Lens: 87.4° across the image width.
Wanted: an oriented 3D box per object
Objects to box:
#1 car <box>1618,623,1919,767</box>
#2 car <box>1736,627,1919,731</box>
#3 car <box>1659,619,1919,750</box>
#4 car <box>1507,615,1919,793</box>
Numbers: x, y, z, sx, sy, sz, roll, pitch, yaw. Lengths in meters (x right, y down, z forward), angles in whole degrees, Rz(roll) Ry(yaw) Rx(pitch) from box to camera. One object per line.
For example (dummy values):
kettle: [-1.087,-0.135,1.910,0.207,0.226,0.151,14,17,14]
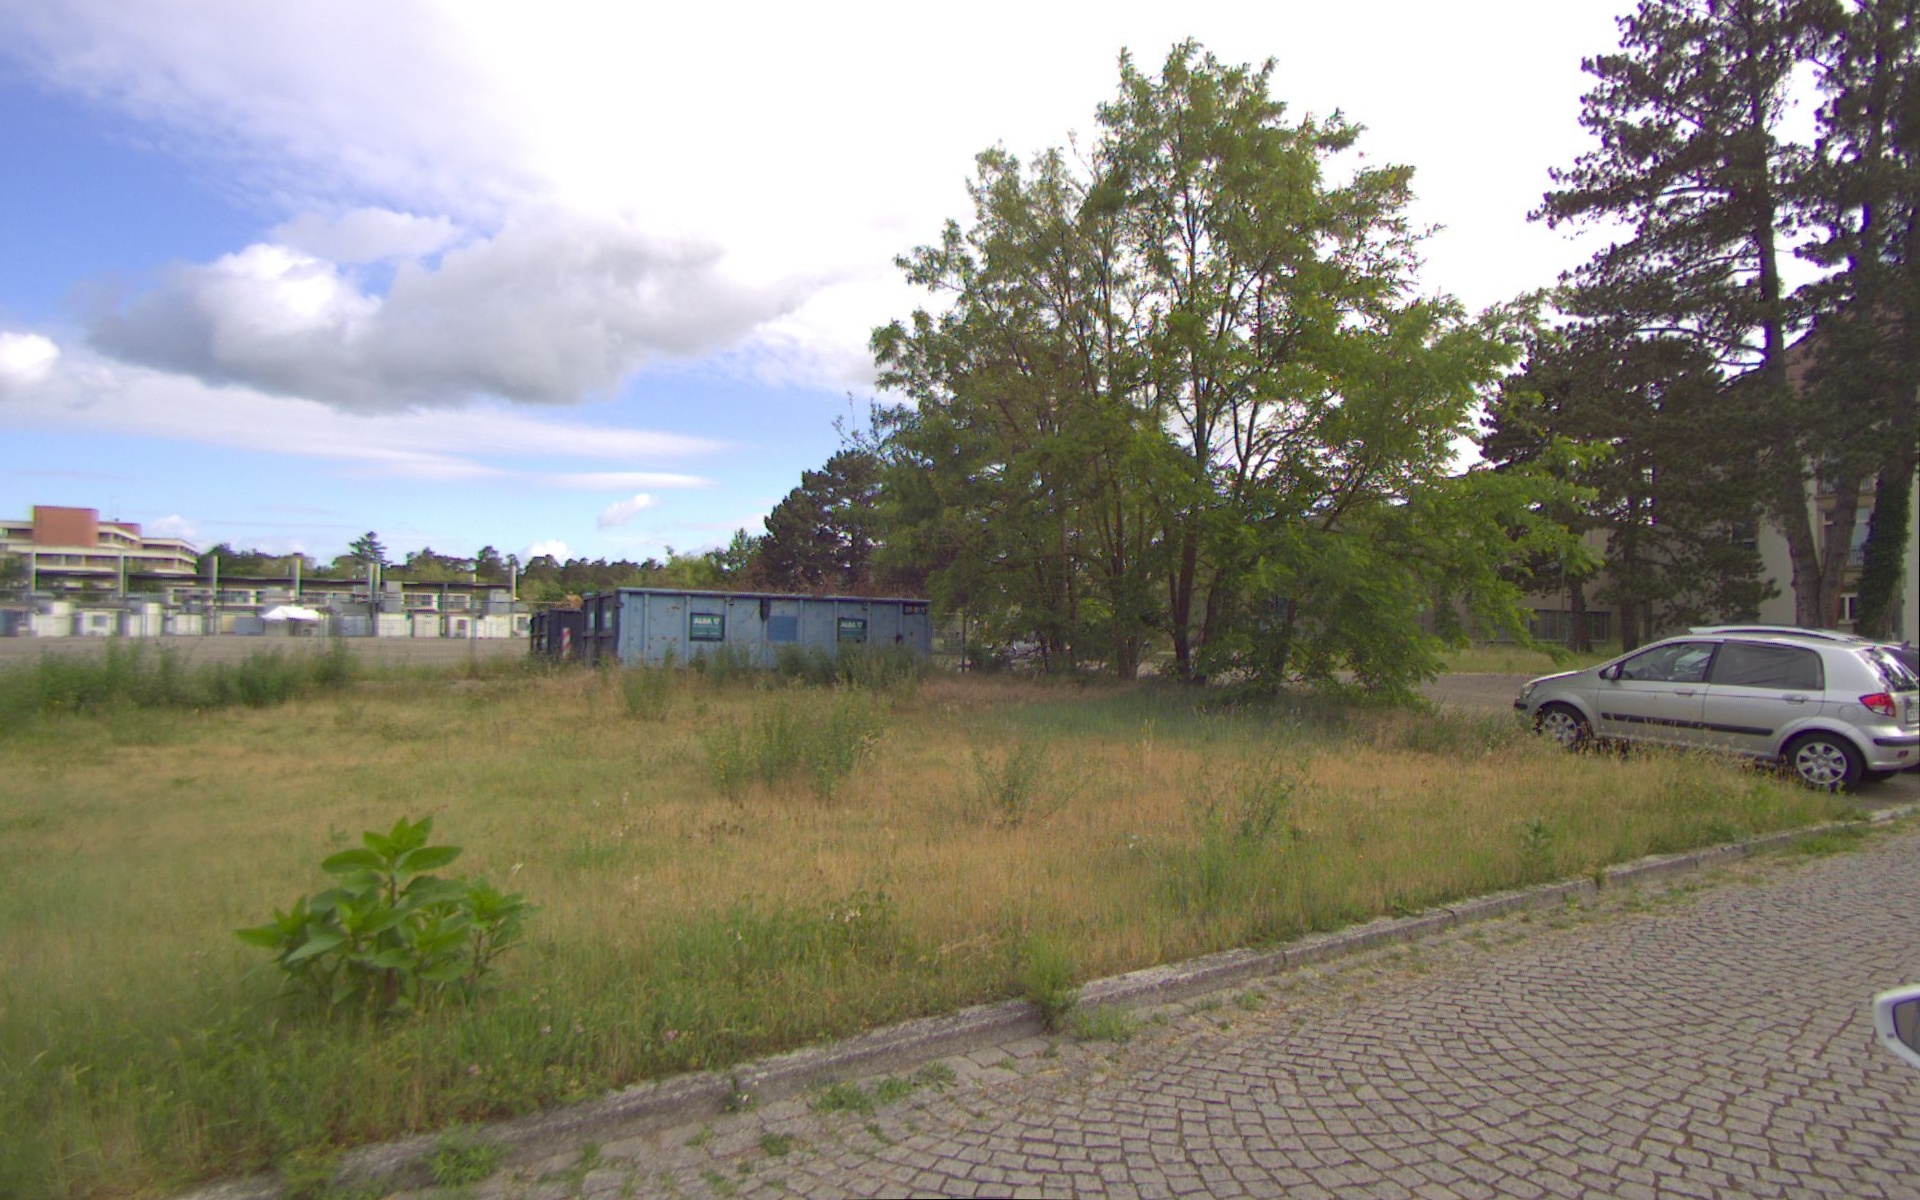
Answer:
car: [10.637,1.105,12.543,1.566,1.448,3.722,1,1,-34]
car: [14.858,1.248,15.739,1.632,1.440,3.926,1,1,-31]
car: [12.688,1.155,14.487,1.633,1.584,3.923,1,1,-34]
car: [8.411,1.006,11.266,1.566,1.499,3.680,1,1,-34]
